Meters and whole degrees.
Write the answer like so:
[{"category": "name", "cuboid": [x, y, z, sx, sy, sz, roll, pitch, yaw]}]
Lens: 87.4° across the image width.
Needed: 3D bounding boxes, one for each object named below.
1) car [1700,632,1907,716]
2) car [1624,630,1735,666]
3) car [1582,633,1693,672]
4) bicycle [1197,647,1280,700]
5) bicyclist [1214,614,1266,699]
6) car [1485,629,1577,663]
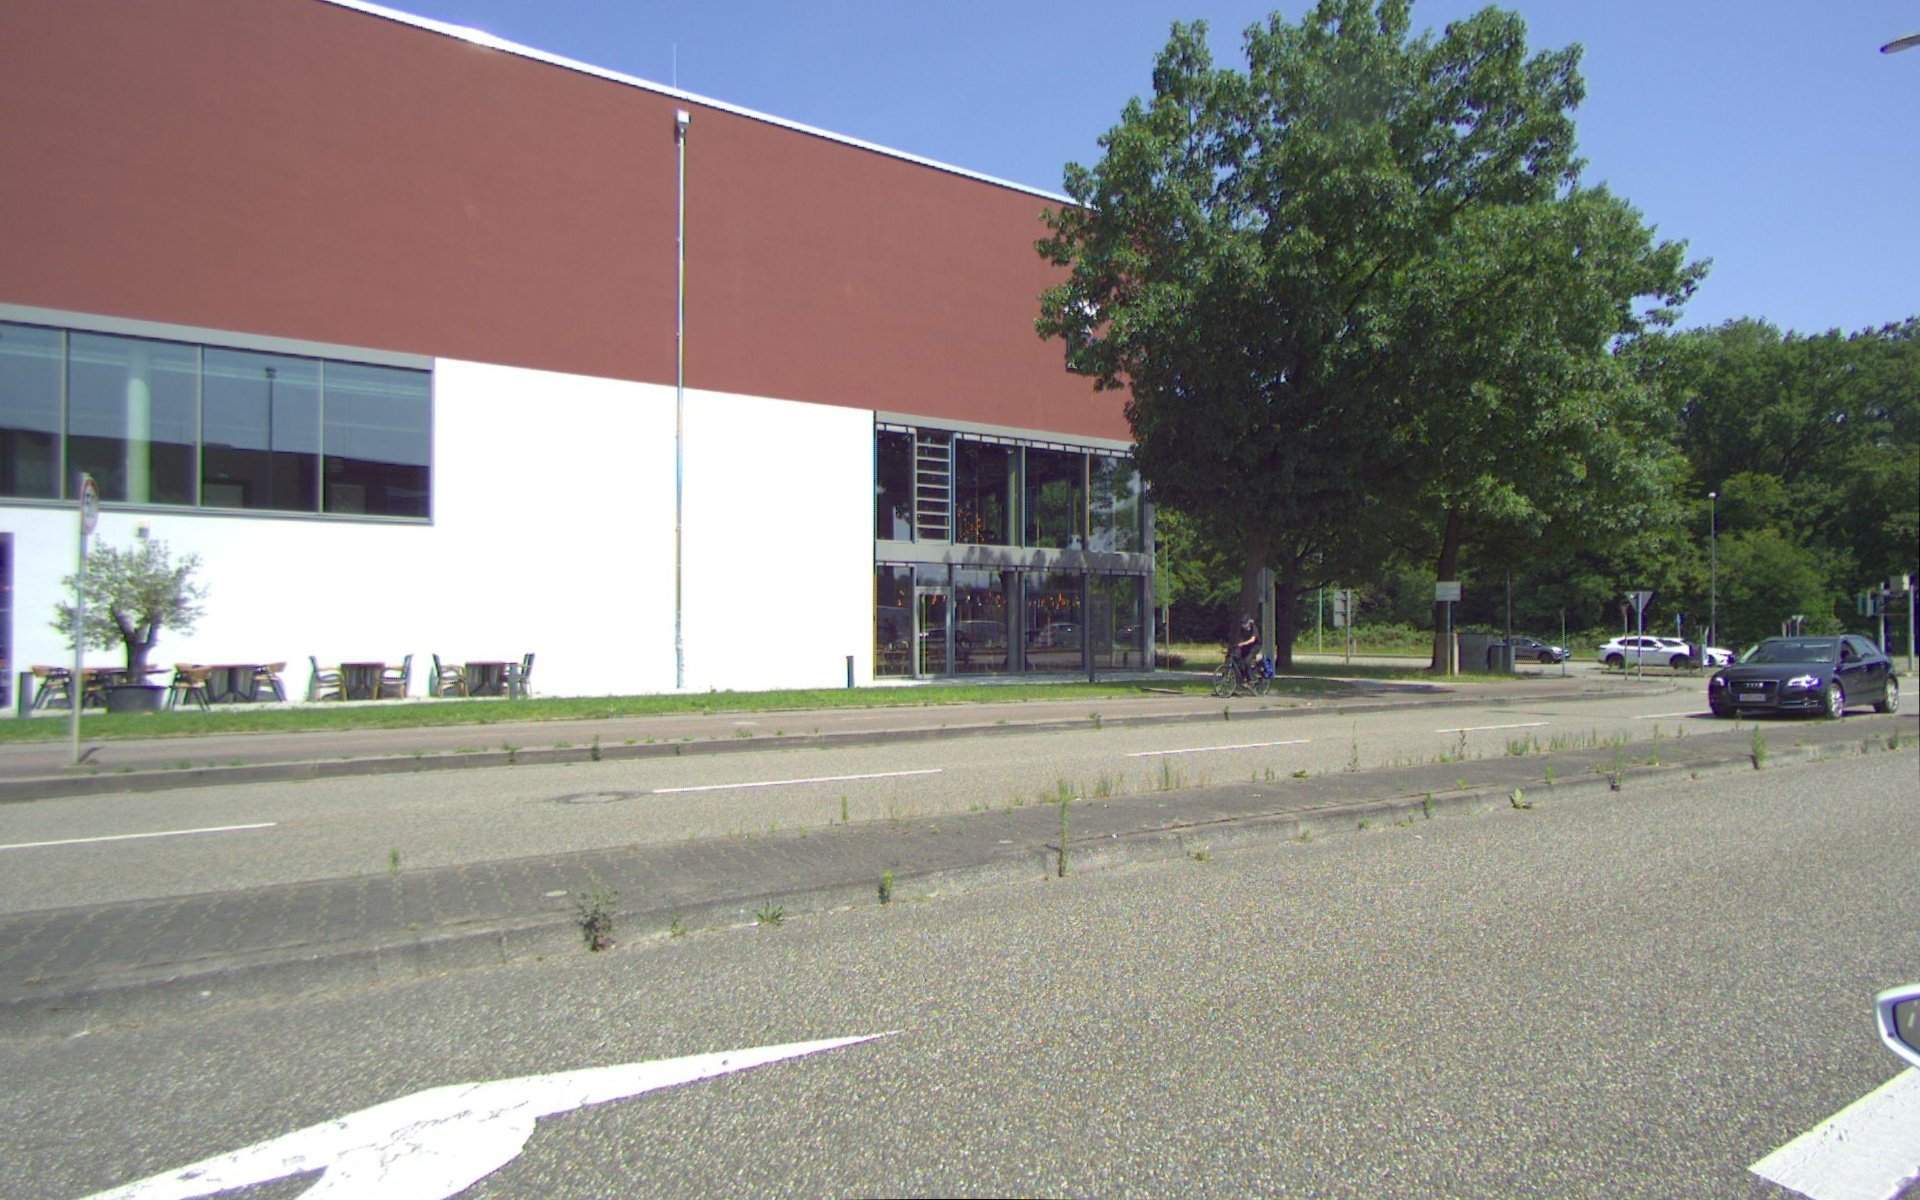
[{"category": "car", "cuboid": [15.196, 1.284, 18.058, 3.956, 1.356, 1.670, 1, -4, -32]}, {"category": "car", "cuboid": [37.722, 2.528, 52.758, 1.794, 1.703, 4.340, 2, -5, -37]}, {"category": "car", "cuboid": [34.283, 2.614, 50.934, 1.794, 1.704, 4.338, 2, 0, -37]}, {"category": "bicycle", "cuboid": [6.075, 1.582, 21.868, 1.862, 1.065, 0.652, 1, -1, -31]}, {"category": "bicyclist", "cuboid": [6.103, 1.211, 21.897, 0.917, 1.793, 0.646, 1, -1, -30]}, {"category": "car", "cuboid": [33.423, 2.671, 58.842, 1.796, 1.704, 4.333, 2, 0, -40]}]
